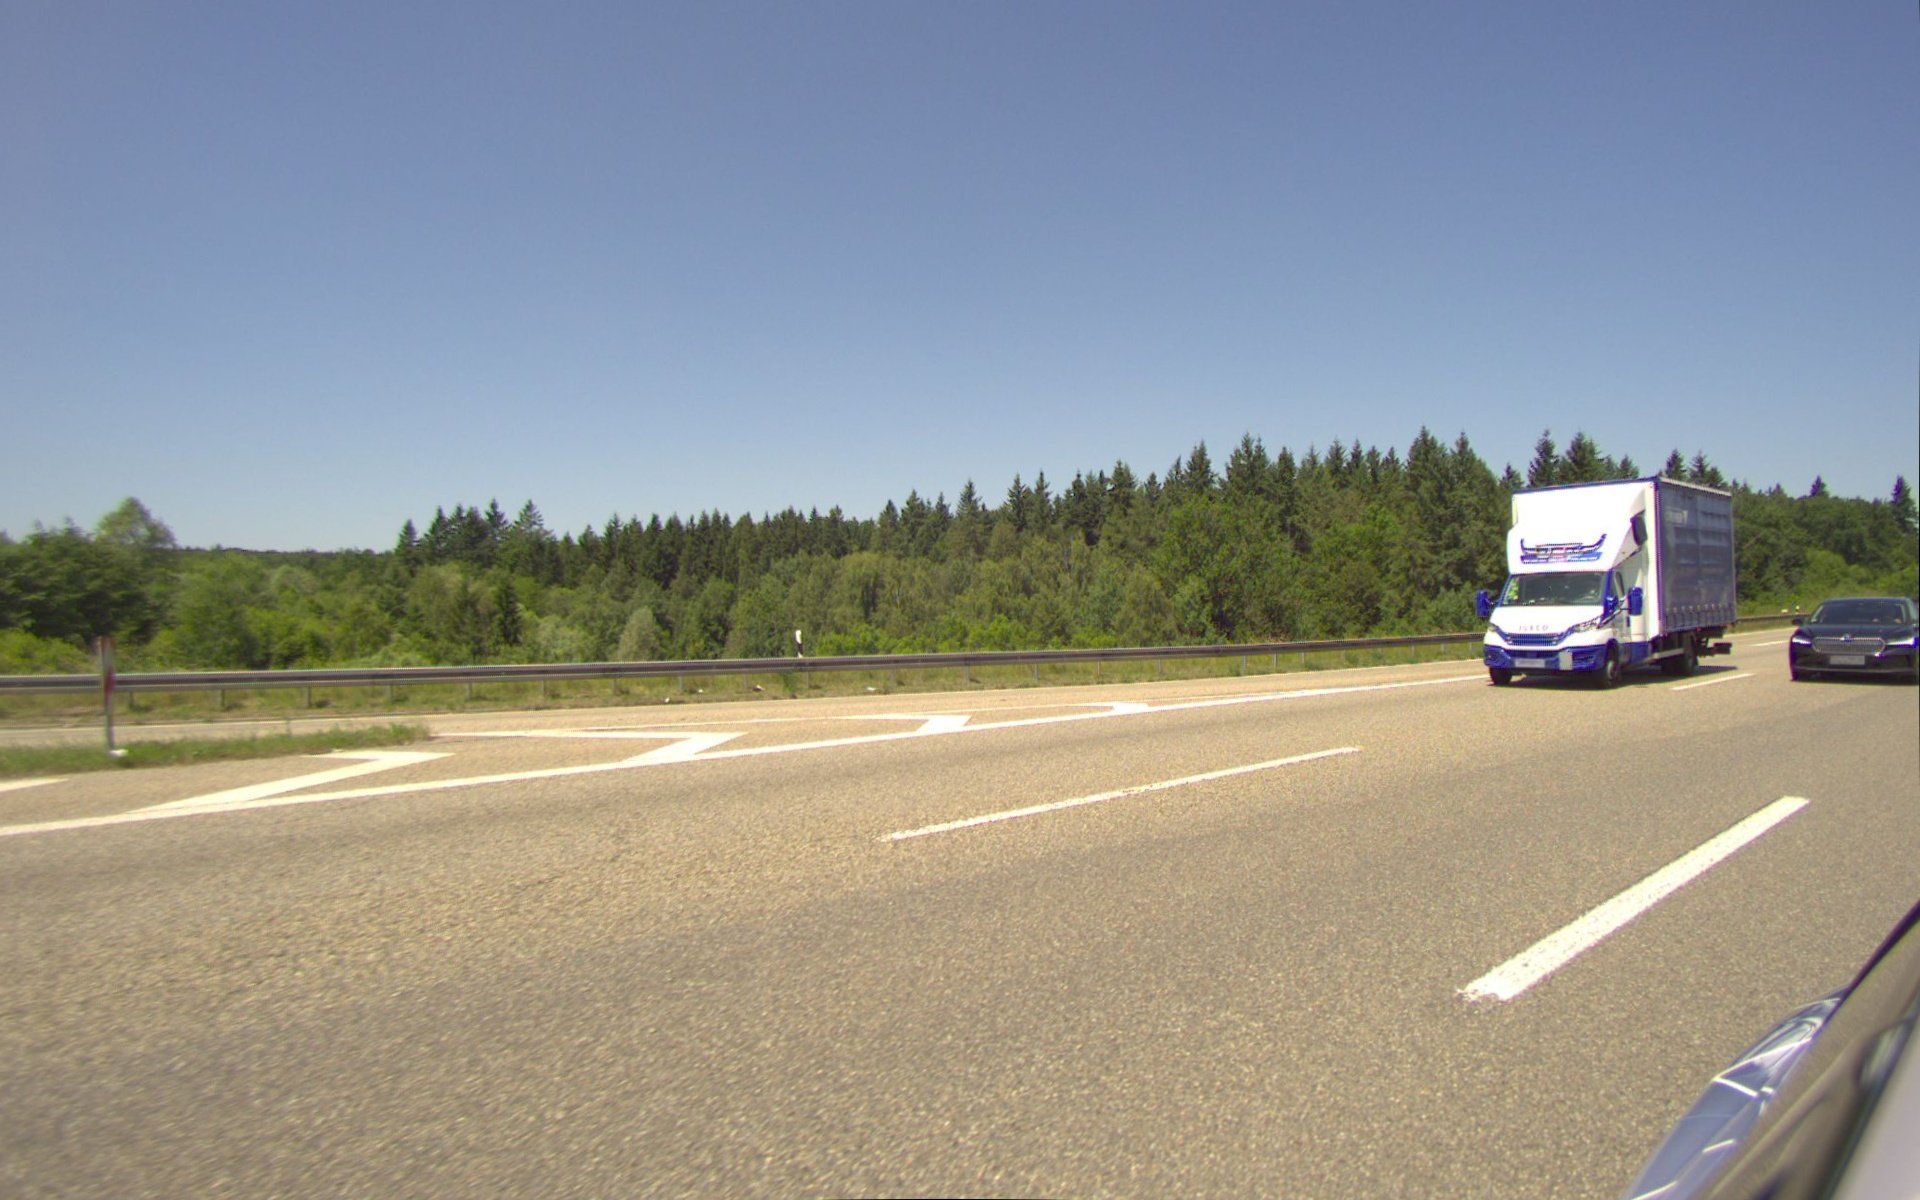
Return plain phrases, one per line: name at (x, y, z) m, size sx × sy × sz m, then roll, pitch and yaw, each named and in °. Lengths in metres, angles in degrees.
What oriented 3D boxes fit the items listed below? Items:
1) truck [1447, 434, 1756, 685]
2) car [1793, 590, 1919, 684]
truck at (13.645, -0.700, 21.028) m, size 9.573 × 4.181 × 2.786 m, roll -1°, pitch -2°, yaw -42°
car at (17.993, 0.675, 19.728) m, size 4.378 × 1.640 × 1.988 m, roll 1°, pitch 0°, yaw -40°
